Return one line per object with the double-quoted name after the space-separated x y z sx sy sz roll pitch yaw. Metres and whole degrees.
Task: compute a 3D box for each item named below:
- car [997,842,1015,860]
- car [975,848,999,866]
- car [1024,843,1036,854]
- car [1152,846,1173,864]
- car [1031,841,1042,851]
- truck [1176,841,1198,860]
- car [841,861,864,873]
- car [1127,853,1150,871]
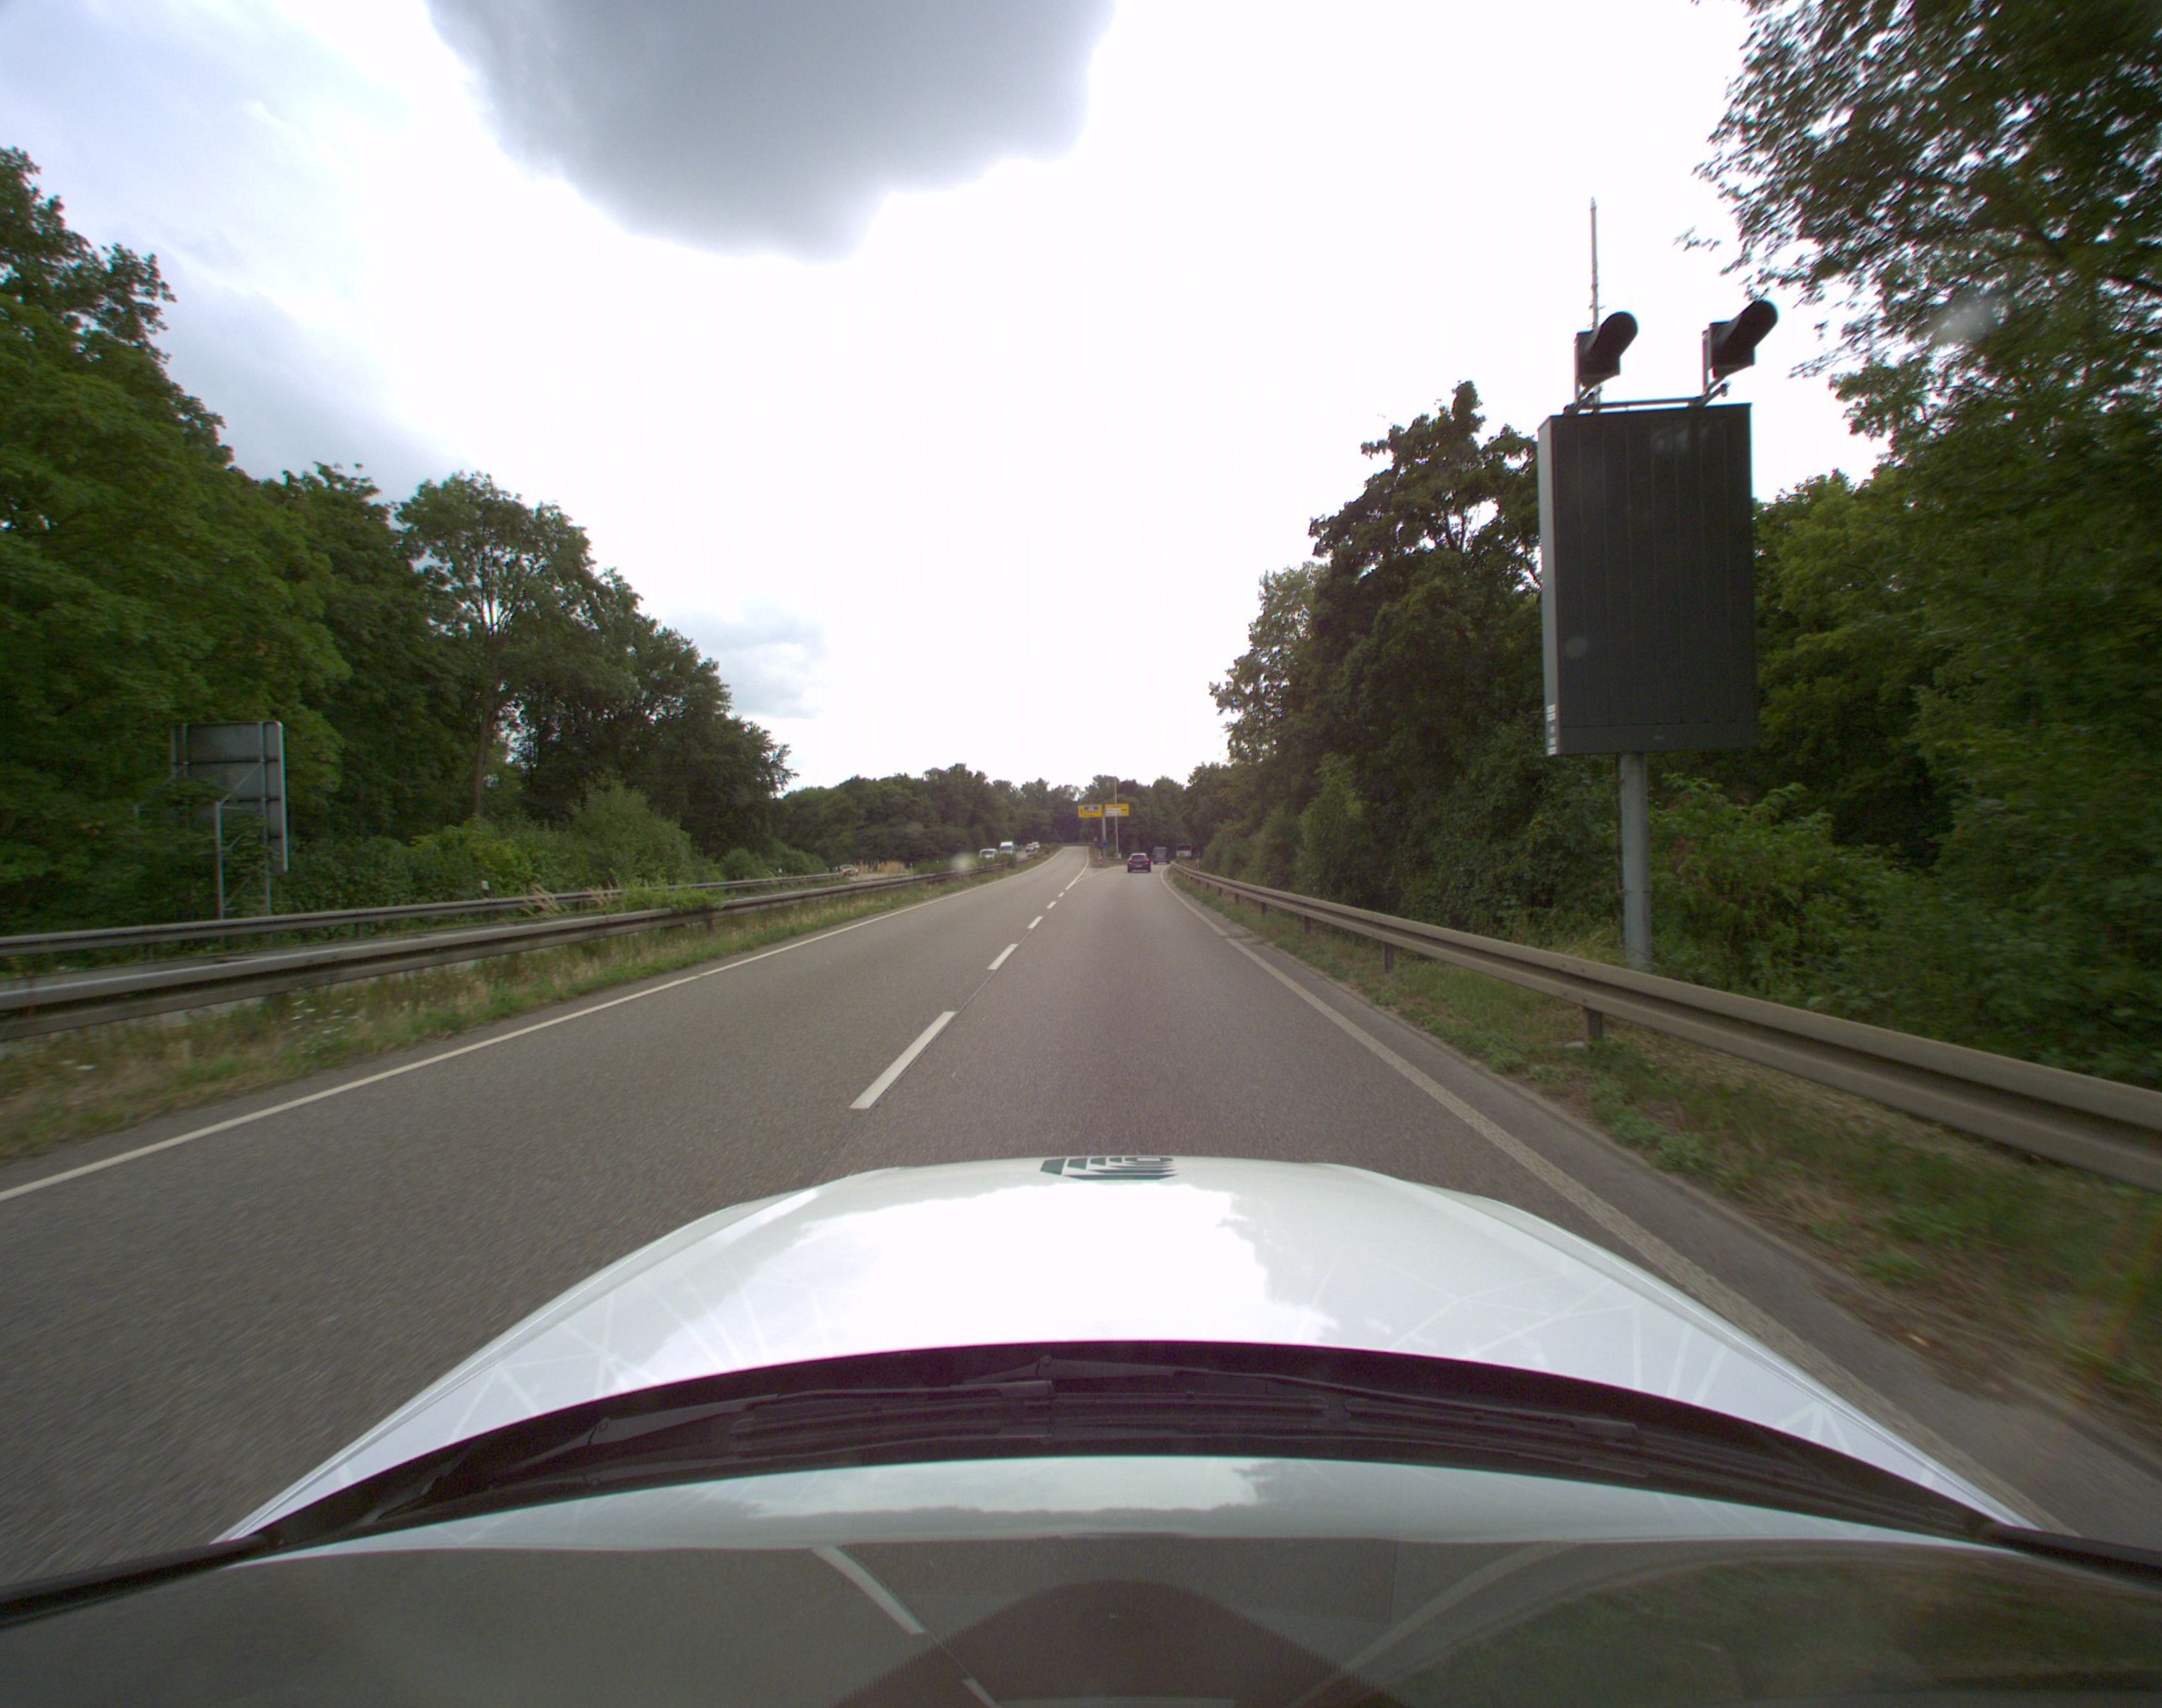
-11.130 -0.532 121.247 2.110 2.591 5.042 -1 1 2 "car"
-10.328 0.303 89.642 1.986 1.847 4.002 -1 1 2 "car"
-10.113 -1.076 161.090 1.986 2.013 4.002 -1 1 2 "car"
9.805 0.165 97.773 2.135 2.014 4.011 -2 -1 10 "car"
-9.787 -1.755 180.150 1.985 2.013 4.004 -1 1 3 "car"
17.688 -0.550 135.762 2.961 2.885 8.016 -2 -1 12 "truck"
-26.861 1.573 95.502 1.635 1.288 3.960 -1 -1 -31 "car"
4.516 0.639 63.724 1.617 1.377 4.007 -2 -1 6 "car"
